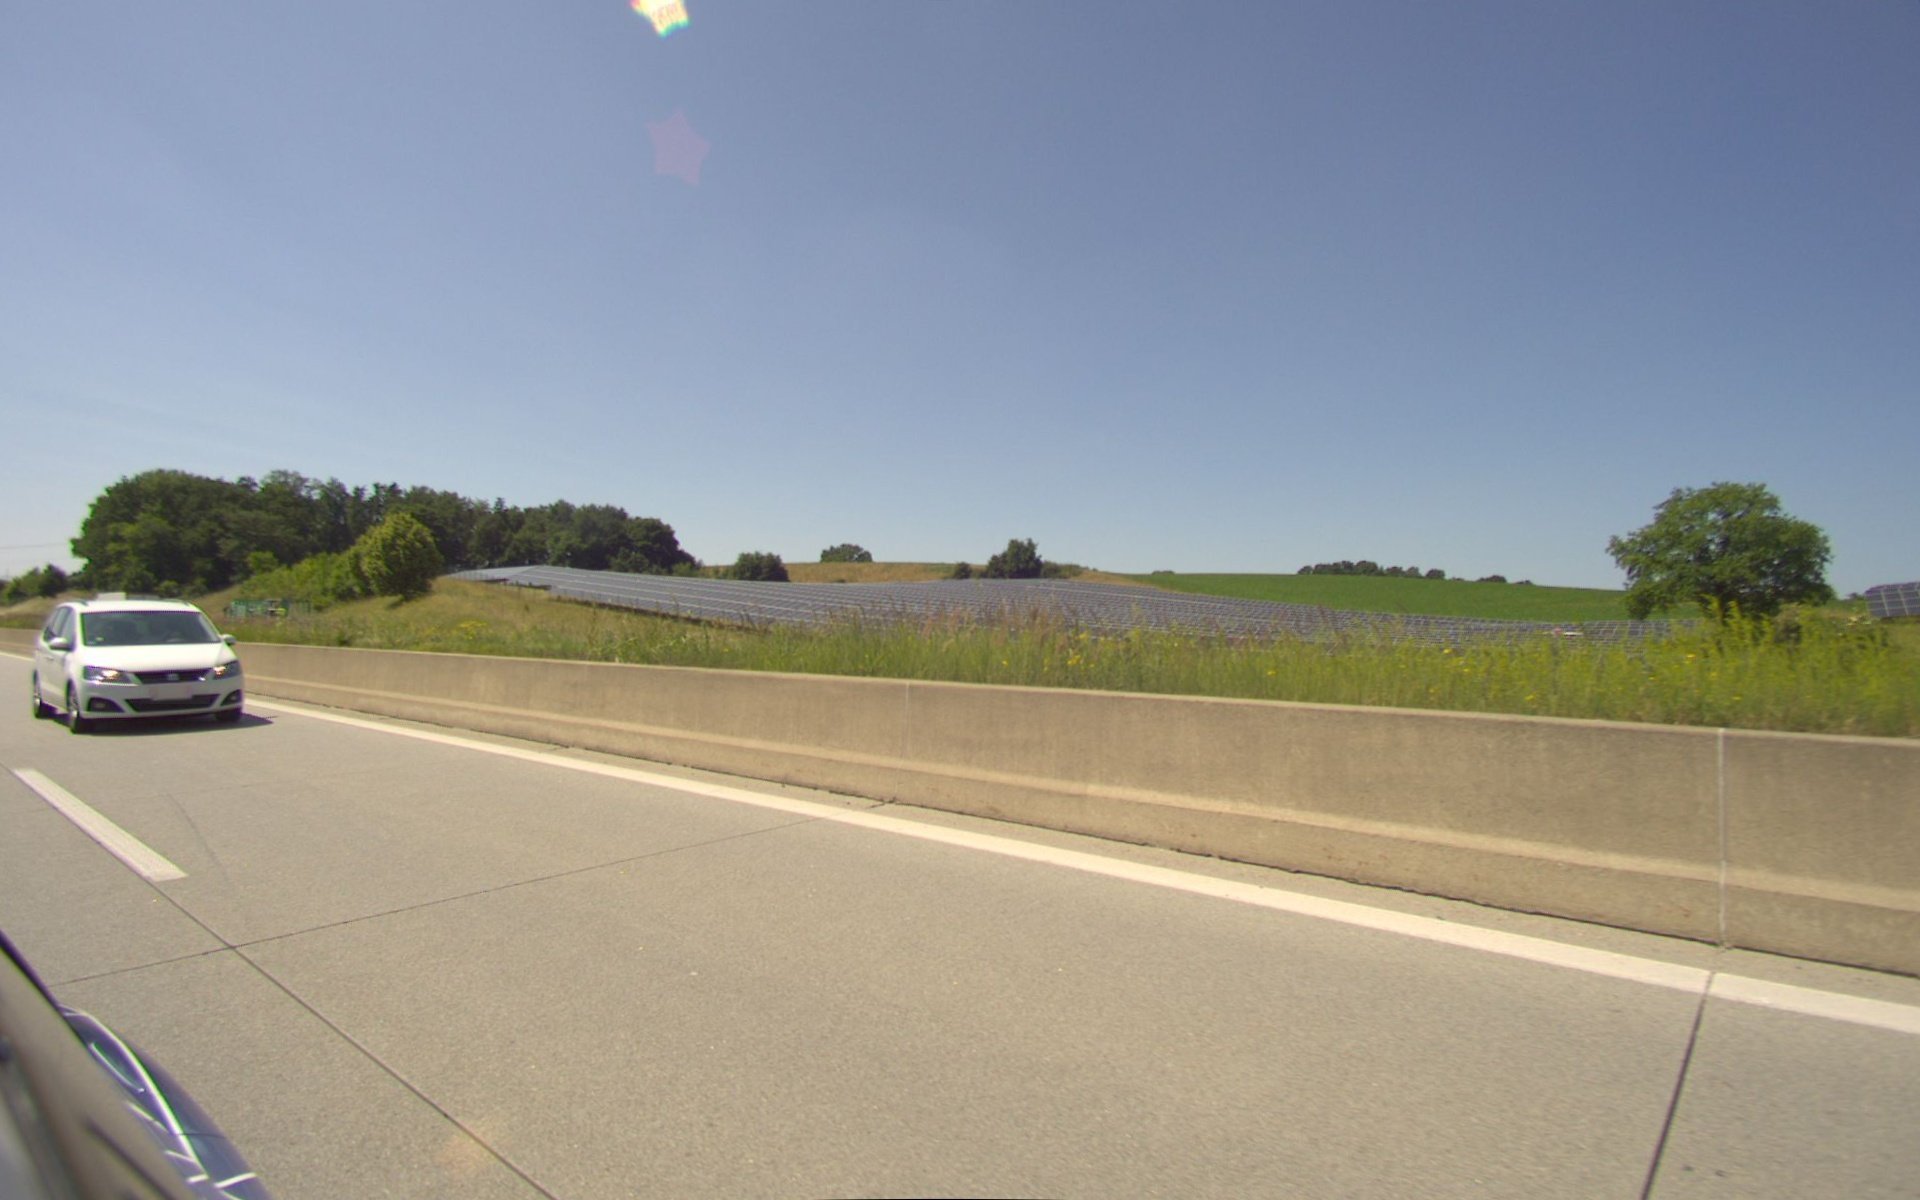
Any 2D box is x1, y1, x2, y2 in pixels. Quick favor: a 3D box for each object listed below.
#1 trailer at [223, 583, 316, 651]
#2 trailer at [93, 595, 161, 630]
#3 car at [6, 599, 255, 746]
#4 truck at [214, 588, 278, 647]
[{"bbox_3d":[-46.181,1.130,67.519,10.252,4.223,2.703,-1,-1,42],"label":"trailer"},{"bbox_3d":[-80.168,1.173,97.245,14.500,3.207,2.802,-1,0,42],"label":"trailer"},{"bbox_3d":[-12.155,0.874,14.637,6.033,1.721,1.826,-1,0,41],"label":"car"},{"bbox_3d":[-50.052,1.211,70.952,4.351,3.981,2.716,-1,0,41],"label":"truck"}]
